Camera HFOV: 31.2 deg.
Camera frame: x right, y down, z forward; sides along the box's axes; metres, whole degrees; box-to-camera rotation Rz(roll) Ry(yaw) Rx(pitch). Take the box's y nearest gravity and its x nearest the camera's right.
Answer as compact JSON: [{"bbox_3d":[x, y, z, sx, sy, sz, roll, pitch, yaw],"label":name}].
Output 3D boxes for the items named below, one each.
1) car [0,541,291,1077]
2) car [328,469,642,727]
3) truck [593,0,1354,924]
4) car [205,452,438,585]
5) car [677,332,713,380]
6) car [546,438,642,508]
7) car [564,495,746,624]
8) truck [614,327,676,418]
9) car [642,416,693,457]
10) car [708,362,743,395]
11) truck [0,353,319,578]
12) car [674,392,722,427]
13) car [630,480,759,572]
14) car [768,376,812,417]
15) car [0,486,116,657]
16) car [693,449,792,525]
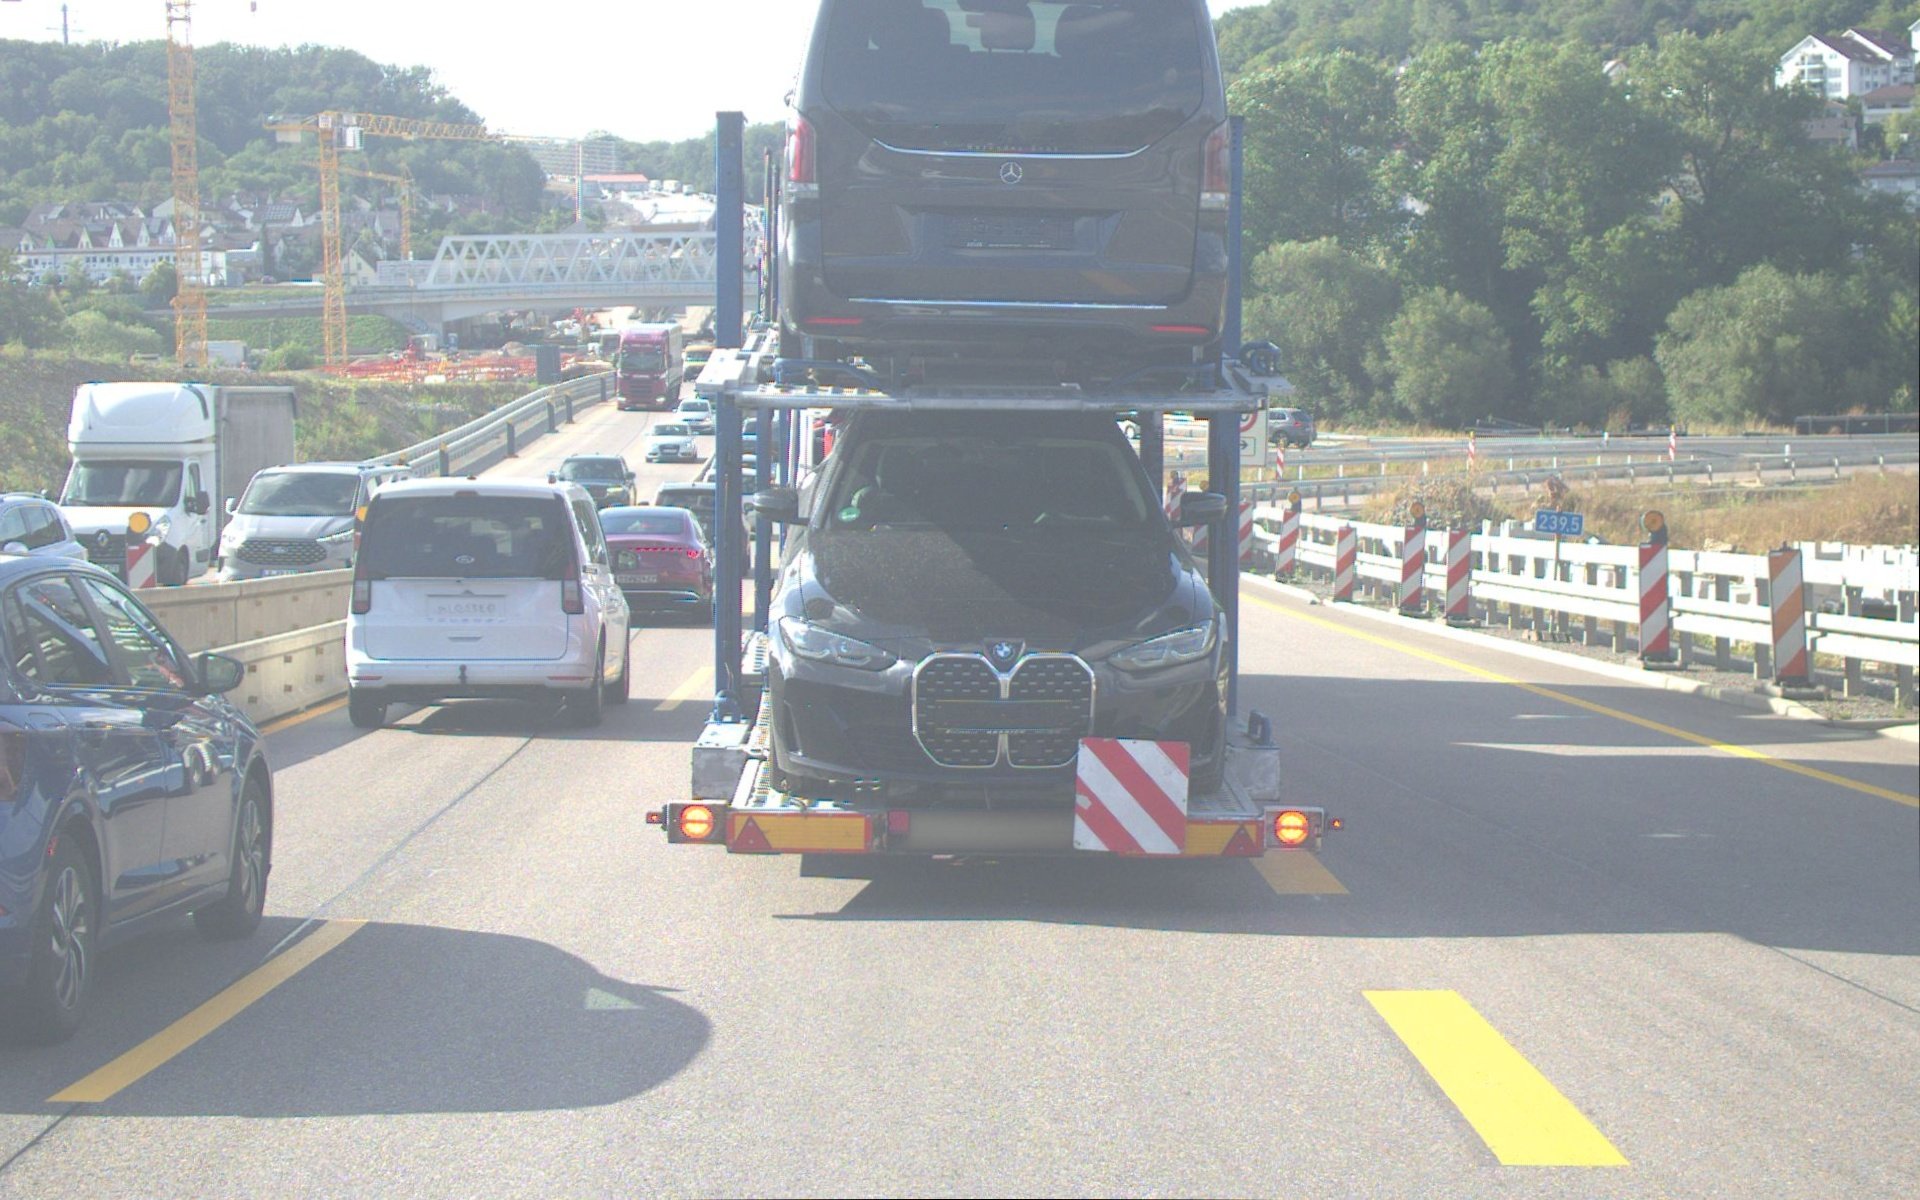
[{"bbox_3d":[-3.372,0.522,11.159,1.722,1.417,4.000,1,1,-2],"label":"car"},{"bbox_3d":[-3.511,-0.038,26.071,1.823,1.786,4.000,1,1,0],"label":"car"},{"bbox_3d":[0.064,-1.046,22.307,2.753,3.941,18.891,2,2,0],"label":"truck"},{"bbox_3d":[-8.969,-1.182,48.750,2.126,1.759,5.031,1,2,3],"label":"car"},{"bbox_3d":[-17.463,-16.056,226.836,1.993,2.869,6.065,1,1,-1],"label":"car"},{"bbox_3d":[-8.886,-3.079,83.782,1.852,1.630,4.749,1,2,0],"label":"car"},{"bbox_3d":[-3.852,-0.512,44.130,1.993,1.551,4.401,1,1,-1],"label":"car"},{"bbox_3d":[-15.841,-11.419,173.240,2.914,4.372,6.288,1,2,-5],"label":"truck"},{"bbox_3d":[-10.864,-6.063,127.954,1.852,1.435,4.559,0,2,-4],"label":"car"},{"bbox_3d":[-13.033,-12.296,190.984,1.844,1.642,4.506,0,2,-4],"label":"car"},{"bbox_3d":[-12.592,-2.032,54.629,2.701,3.300,7.536,1,1,6],"label":"truck"},{"bbox_3d":[-11.382,-8.274,149.674,1.754,1.435,3.805,1,2,1],"label":"car"},{"bbox_3d":[-4.652,-1.284,60.670,1.993,1.547,4.000,1,1,-1],"label":"car"},{"bbox_3d":[-7.461,-8.889,150.482,1.844,1.642,4.506,0,2,-4],"label":"car"},{"bbox_3d":[-10.408,-0.332,35.323,2.126,1.668,4.272,1,2,5],"label":"car"},{"bbox_3d":[-4.917,-2.584,78.129,1.993,1.660,4.001,1,2,0],"label":"car"}]
